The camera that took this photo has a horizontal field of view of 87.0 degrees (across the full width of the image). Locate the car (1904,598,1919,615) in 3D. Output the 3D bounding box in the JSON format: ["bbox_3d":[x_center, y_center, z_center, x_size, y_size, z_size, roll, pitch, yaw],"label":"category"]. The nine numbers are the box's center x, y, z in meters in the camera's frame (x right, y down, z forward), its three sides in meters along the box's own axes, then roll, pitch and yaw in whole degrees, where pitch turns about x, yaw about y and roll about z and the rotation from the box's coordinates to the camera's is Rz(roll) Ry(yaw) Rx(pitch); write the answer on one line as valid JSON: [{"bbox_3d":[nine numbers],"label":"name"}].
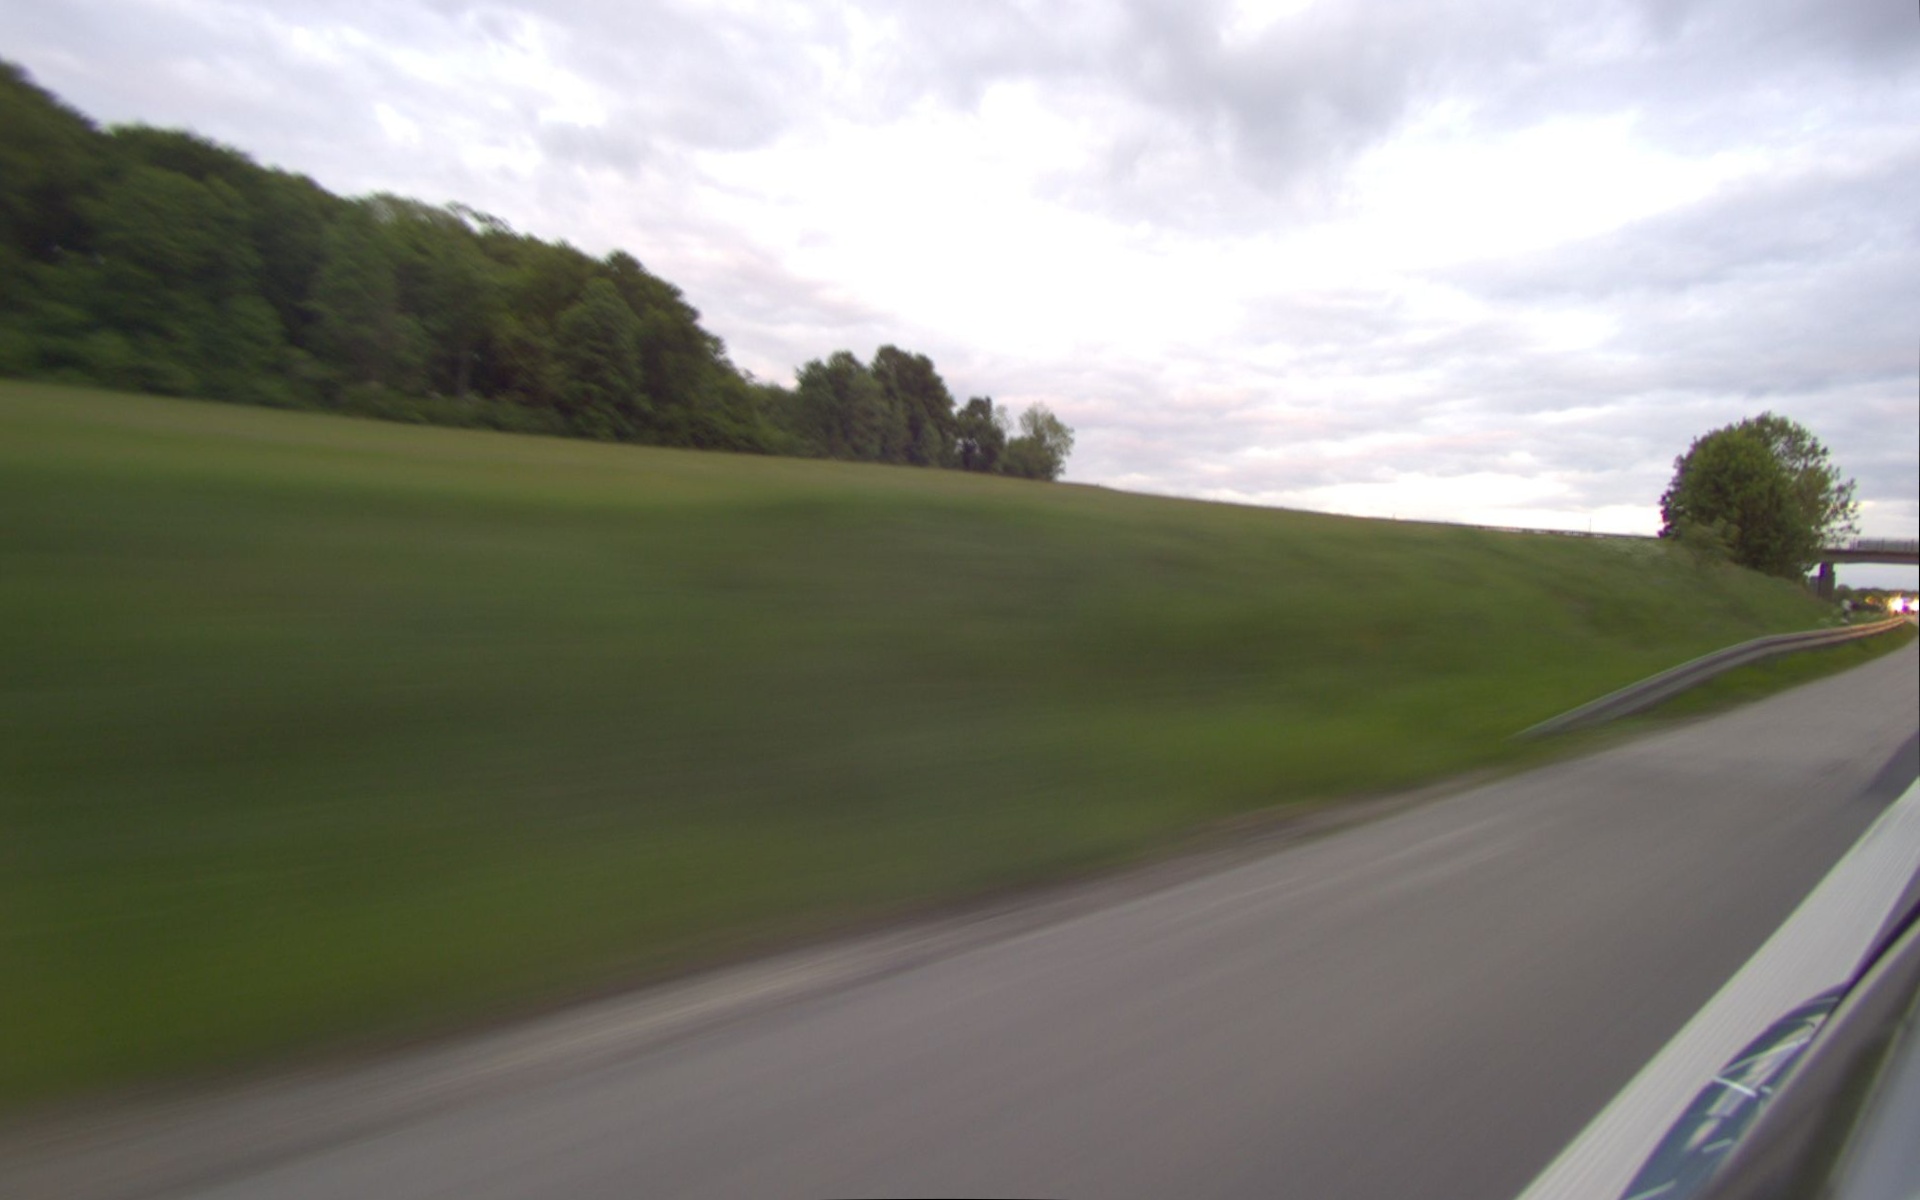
[{"bbox_3d":[109.209,0.729,115.449,1.912,1.860,3.943,3,1,39],"label":"car"}]
